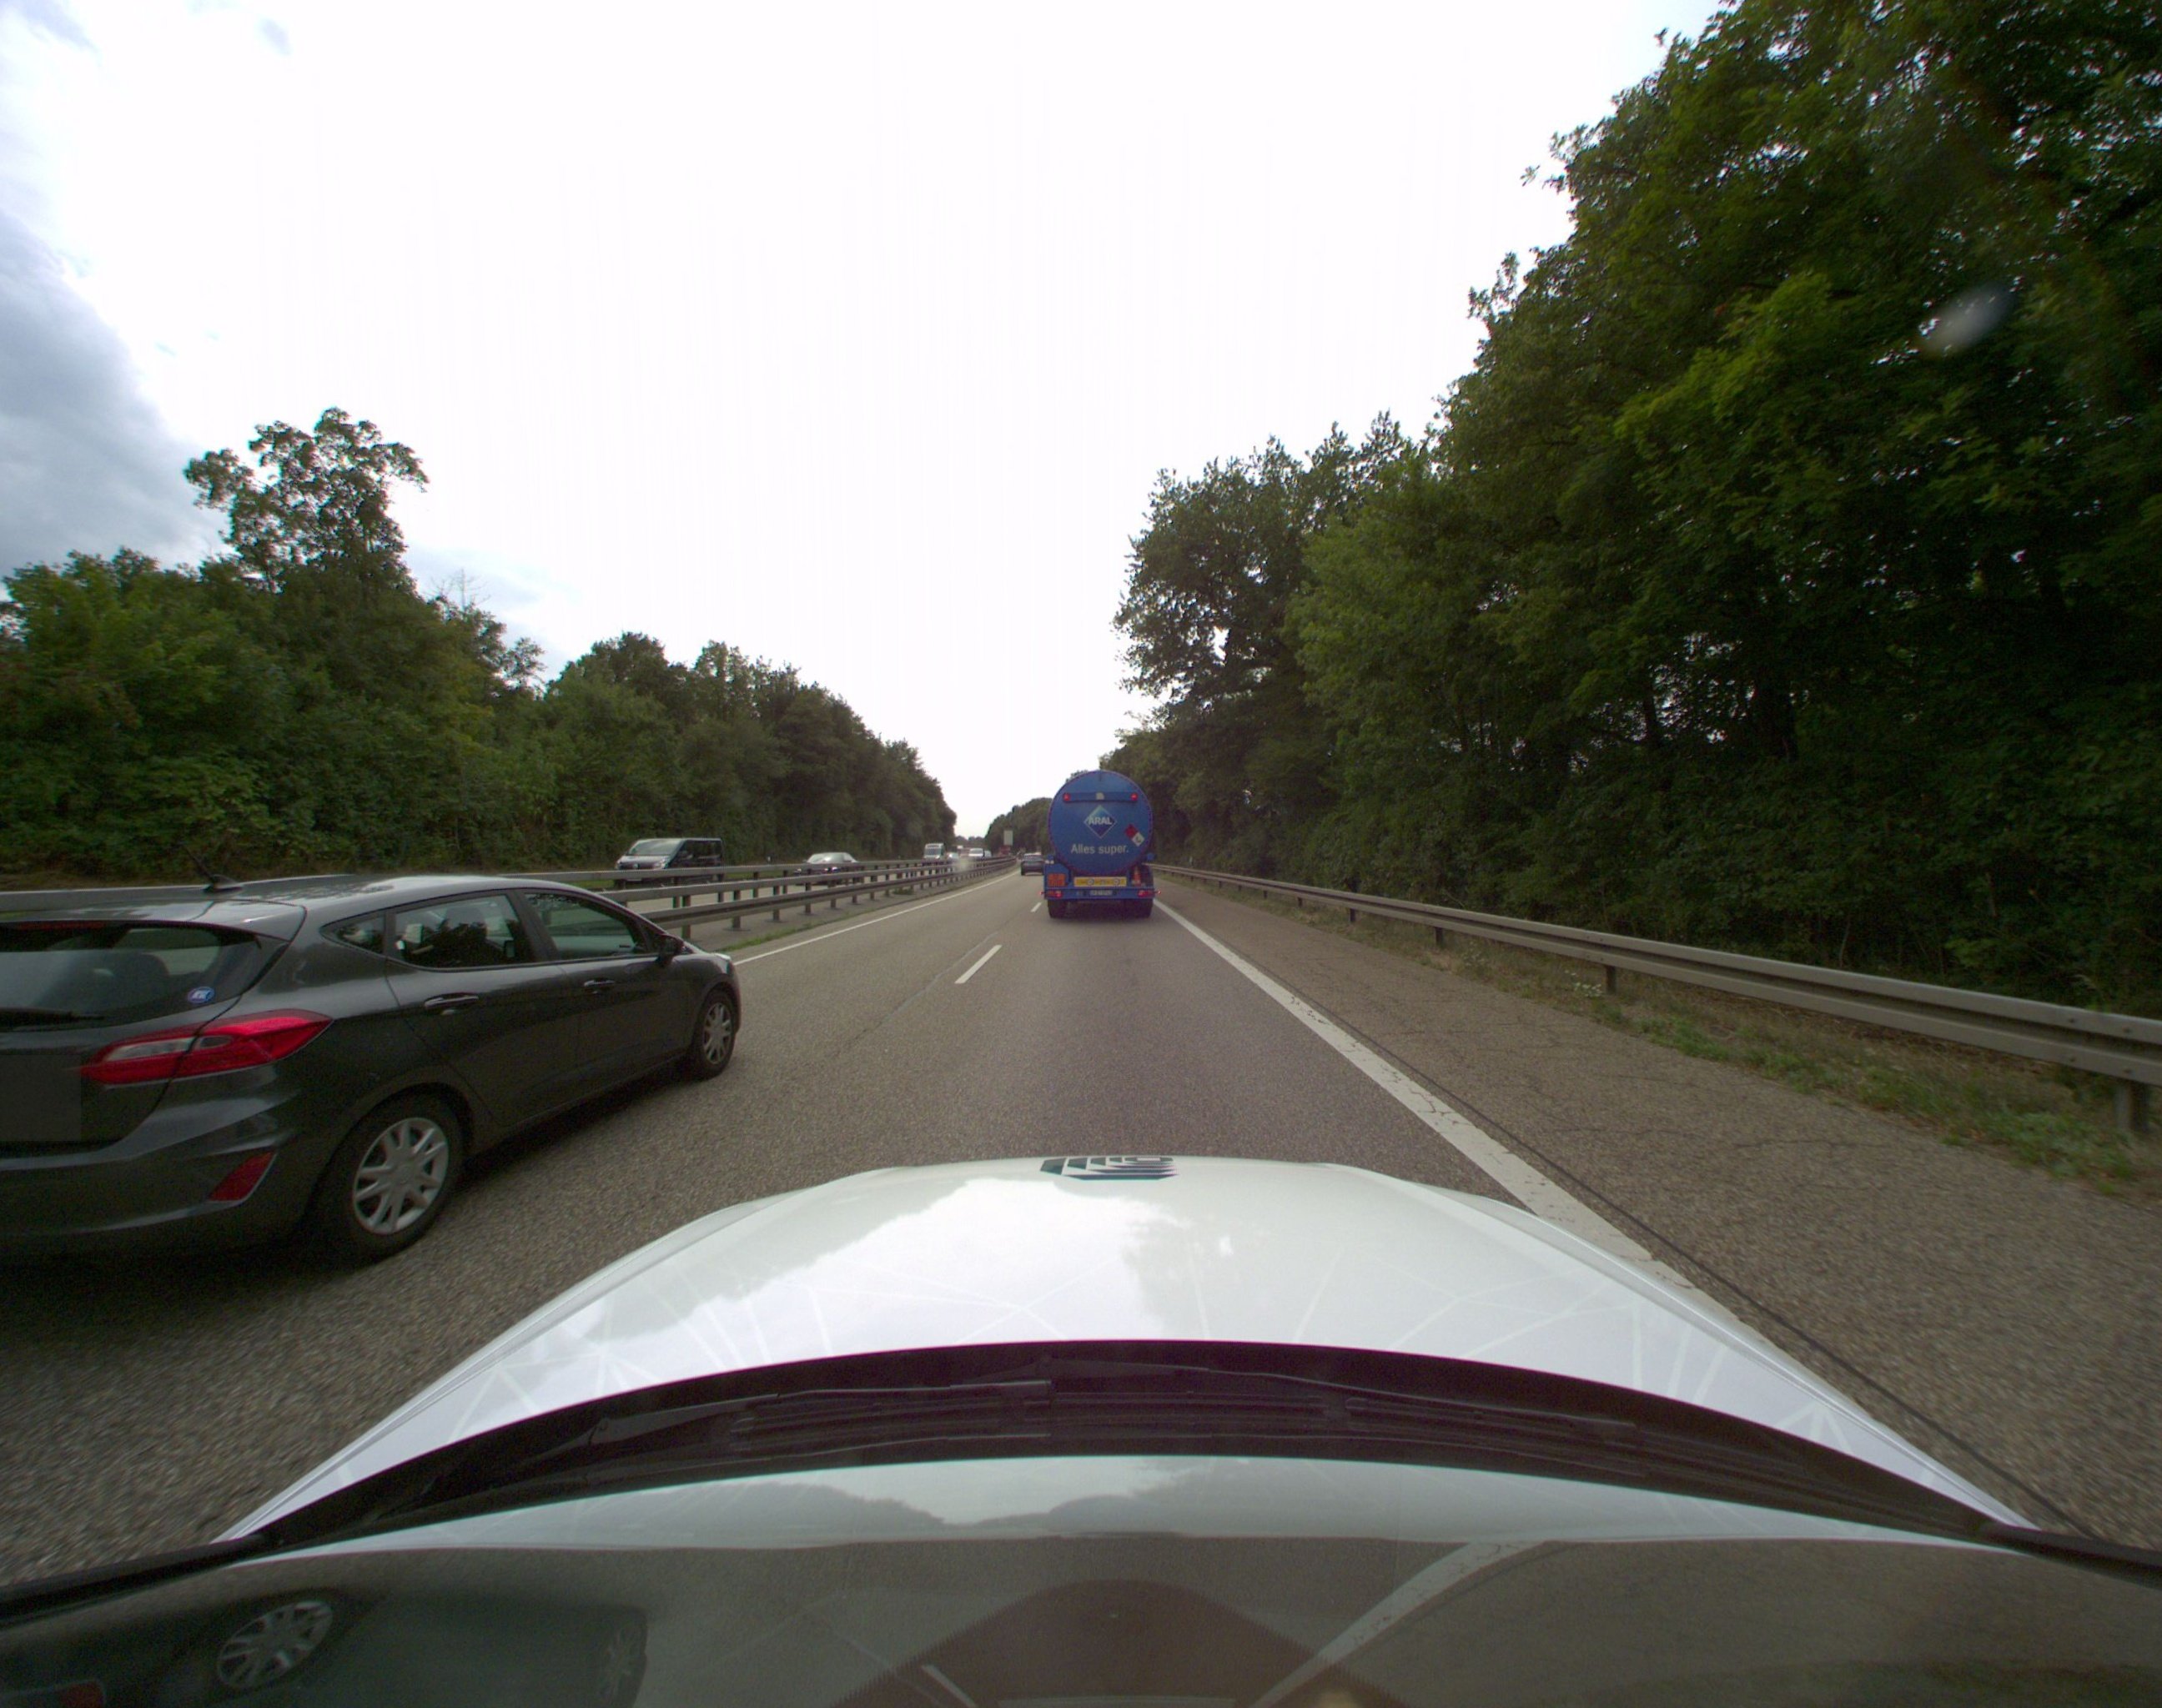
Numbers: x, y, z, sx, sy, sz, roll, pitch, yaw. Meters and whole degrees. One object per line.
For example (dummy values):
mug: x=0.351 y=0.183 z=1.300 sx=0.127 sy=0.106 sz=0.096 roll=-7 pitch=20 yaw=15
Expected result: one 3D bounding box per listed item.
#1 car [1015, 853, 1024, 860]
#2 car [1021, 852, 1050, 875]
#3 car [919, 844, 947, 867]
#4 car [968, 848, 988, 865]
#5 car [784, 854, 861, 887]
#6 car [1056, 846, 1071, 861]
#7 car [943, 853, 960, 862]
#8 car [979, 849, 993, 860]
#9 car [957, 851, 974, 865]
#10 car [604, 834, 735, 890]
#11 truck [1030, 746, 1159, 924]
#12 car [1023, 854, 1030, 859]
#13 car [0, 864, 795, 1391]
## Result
car: x=-14.680 y=0.578 z=195.043 sx=1.992 sy=1.552 sz=3.990 roll=-1 pitch=0 yaw=-7
car: x=-3.325 y=0.706 z=60.152 sx=1.820 sy=1.609 sz=4.168 roll=-1 pitch=0 yaw=1
car: x=-17.152 y=0.162 z=94.562 sx=2.305 sy=2.611 sz=5.550 roll=-1 pitch=0 yaw=-1
car: x=-12.789 y=0.340 z=101.240 sx=1.816 sy=1.983 sz=5.055 roll=-1 pitch=0 yaw=-1
car: x=-10.836 y=0.662 z=34.461 sx=1.649 sy=1.278 sz=4.713 roll=-1 pitch=0 yaw=1
car: x=-2.623 y=-0.073 z=121.574 sx=1.987 sy=2.244 sz=4.000 roll=-1 pitch=0 yaw=1
car: x=-18.521 y=0.487 z=116.559 sx=1.769 sy=1.296 sz=4.104 roll=-1 pitch=0 yaw=-2
car: x=-14.246 y=0.060 z=122.308 sx=1.777 sy=1.563 sz=4.012 roll=-1 pitch=0 yaw=-1
car: x=-18.534 y=0.645 z=130.849 sx=2.061 sy=2.256 sz=5.370 roll=-1 pitch=0 yaw=-2
car: x=-14.706 y=0.279 z=29.518 sx=2.028 sy=1.804 sz=5.124 roll=-1 pitch=0 yaw=1
truck: x=0.482 y=-0.411 z=21.592 sx=2.744 sy=3.846 sz=7.694 roll=-1 pitch=0 yaw=3
car: x=-15.604 y=0.756 z=233.420 sx=1.991 sy=1.552 sz=3.990 roll=-1 pitch=0 yaw=-7
car: x=-3.444 y=0.813 z=4.640 sx=1.819 sy=1.458 sz=4.641 roll=-1 pitch=0 yaw=2
